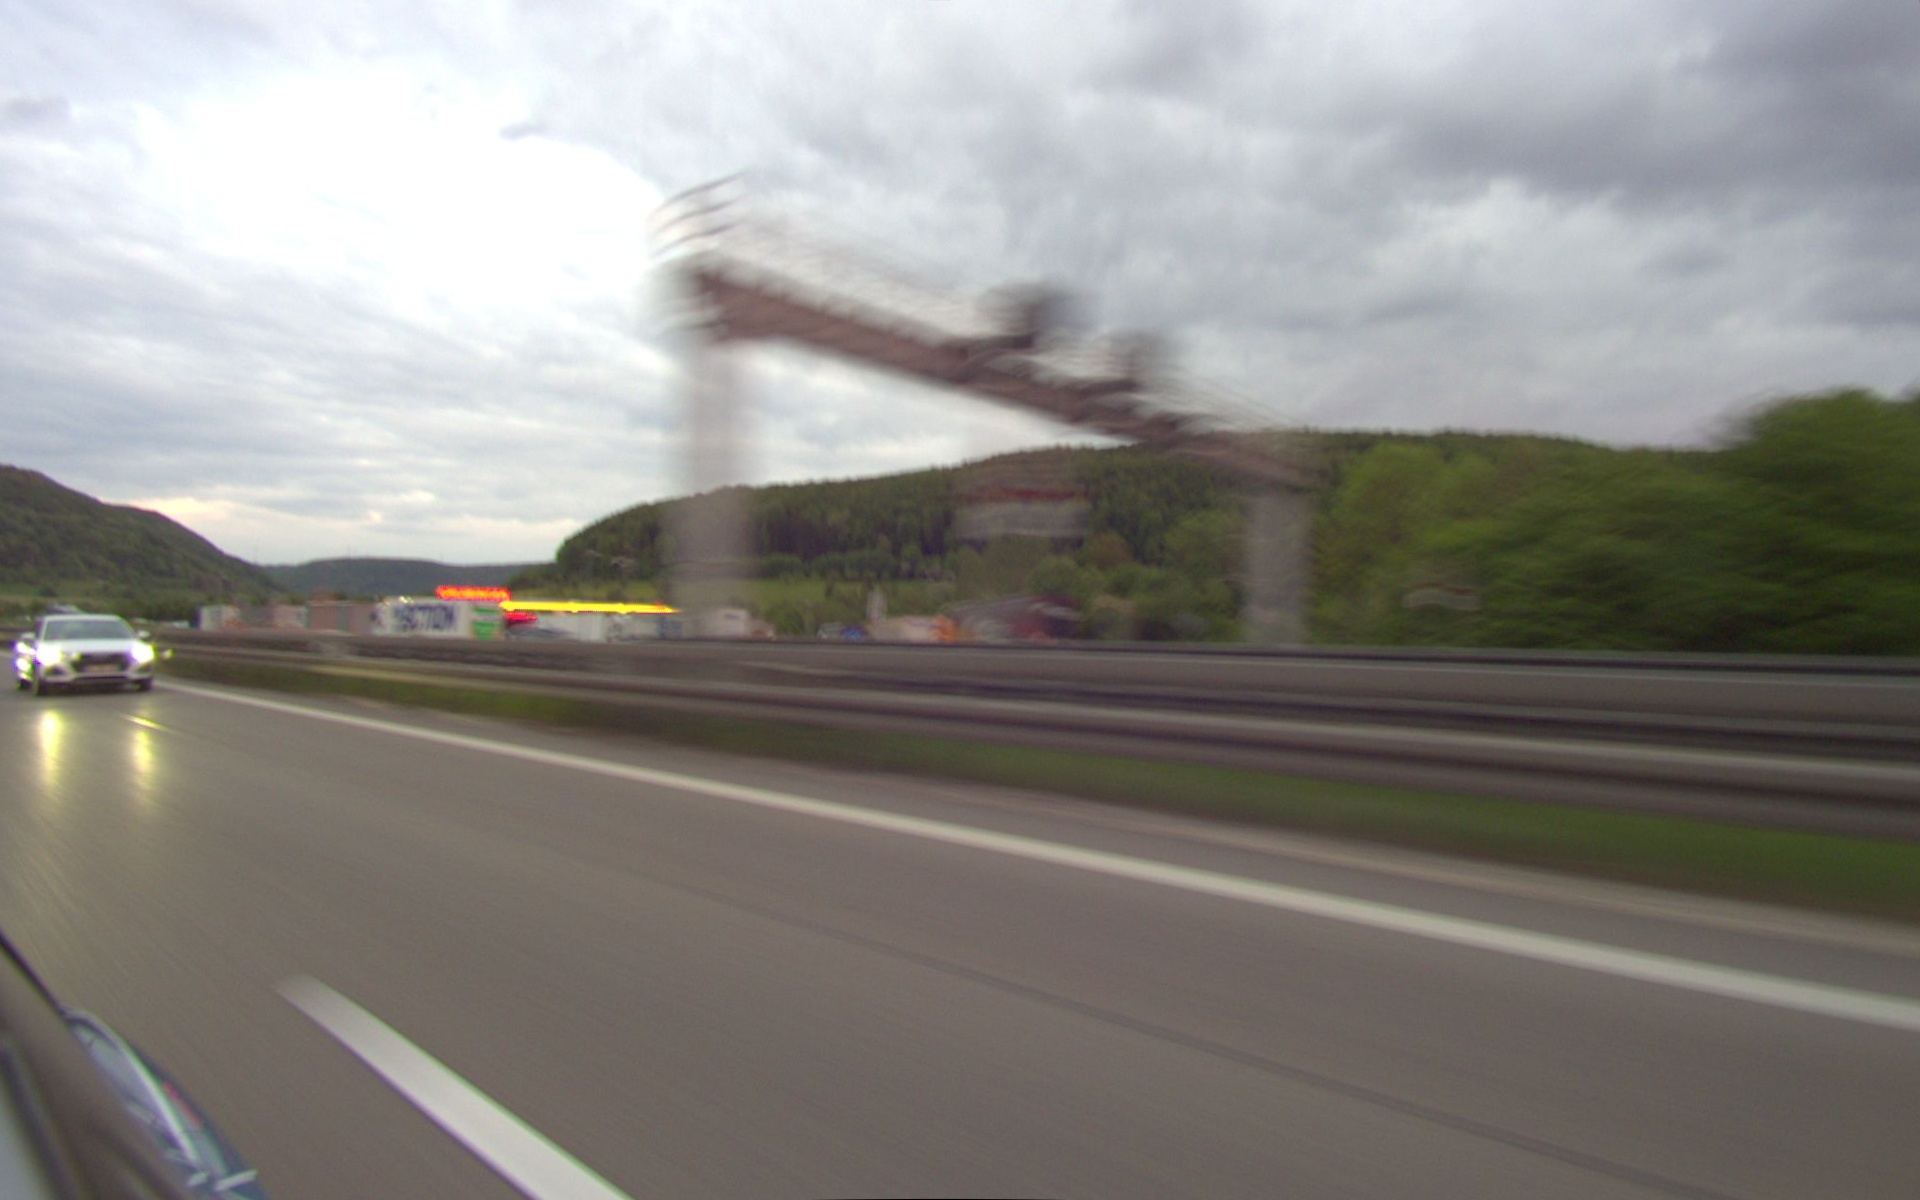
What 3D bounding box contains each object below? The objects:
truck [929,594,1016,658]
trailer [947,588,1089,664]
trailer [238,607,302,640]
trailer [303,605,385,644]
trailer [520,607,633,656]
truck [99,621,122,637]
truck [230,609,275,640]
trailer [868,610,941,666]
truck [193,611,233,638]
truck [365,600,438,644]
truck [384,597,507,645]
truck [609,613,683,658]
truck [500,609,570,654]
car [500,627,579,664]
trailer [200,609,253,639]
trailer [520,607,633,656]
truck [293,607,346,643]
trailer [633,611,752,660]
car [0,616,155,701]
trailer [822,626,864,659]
[{"bbox_3d":[0.630,1.569,62.272,2.962,3.707,7.702,0,-1,-18],"label":"truck"},{"bbox_3d":[2.795,1.391,55.740,3.018,3.707,13.384,0,-1,-18],"label":"trailer"},{"bbox_3d":[-76.377,2.645,111.831,13.568,3.451,2.842,-2,-2,43],"label":"trailer"},{"bbox_3d":[-57.906,2.300,94.884,13.847,3.451,2.842,-2,-2,42],"label":"trailer"},{"bbox_3d":[-36.235,2.943,94.990,15.942,4.292,2.985,-1,-2,42],"label":"trailer"},{"bbox_3d":[-171.827,5.845,204.775,5.303,3.112,2.836,-1,-2,42],"label":"truck"},{"bbox_3d":[-81.490,2.792,116.532,6.725,3.451,2.842,-2,-2,42],"label":"truck"},{"bbox_3d":[-4.736,3.003,82.580,3.235,4.137,14.484,1,-2,-14],"label":"trailer"},{"bbox_3d":[-95.756,3.150,129.741,7.174,3.401,2.842,-2,-2,43],"label":"truck"},{"bbox_3d":[-45.682,1.779,82.754,6.716,3.451,2.846,-1,-1,38],"label":"truck"},{"bbox_3d":[-40.055,1.651,78.405,13.767,3.451,2.847,-1,-1,37],"label":"truck"},{"bbox_3d":[-26.835,2.973,86.327,7.027,3.668,2.842,-2,-2,43],"label":"truck"},{"bbox_3d":[-42.227,3.057,100.396,8.862,4.292,2.986,-1,-2,42],"label":"truck"},{"bbox_3d":[-17.371,1.842,41.797,3.534,1.432,1.624,-1,-1,41],"label":"car"},{"bbox_3d":[-90.758,2.985,125.073,13.223,3.451,2.842,-2,-2,43],"label":"trailer"},{"bbox_3d":[-36.255,2.943,94.968,15.942,4.292,2.985,-1,-2,42],"label":"trailer"},{"bbox_3d":[-63.104,2.436,99.657,6.725,3.451,2.842,-2,-2,43],"label":"truck"},{"bbox_3d":[-21.773,2.833,81.687,12.713,3.707,2.843,-2,-2,42],"label":"trailer"},{"bbox_3d":[-18.091,1.113,20.645,5.035,1.512,1.770,-1,-1,42],"label":"car"},{"bbox_3d":[-13.524,4.760,115.883,2.891,3.546,13.456,1,-2,-15],"label":"trailer"}]
